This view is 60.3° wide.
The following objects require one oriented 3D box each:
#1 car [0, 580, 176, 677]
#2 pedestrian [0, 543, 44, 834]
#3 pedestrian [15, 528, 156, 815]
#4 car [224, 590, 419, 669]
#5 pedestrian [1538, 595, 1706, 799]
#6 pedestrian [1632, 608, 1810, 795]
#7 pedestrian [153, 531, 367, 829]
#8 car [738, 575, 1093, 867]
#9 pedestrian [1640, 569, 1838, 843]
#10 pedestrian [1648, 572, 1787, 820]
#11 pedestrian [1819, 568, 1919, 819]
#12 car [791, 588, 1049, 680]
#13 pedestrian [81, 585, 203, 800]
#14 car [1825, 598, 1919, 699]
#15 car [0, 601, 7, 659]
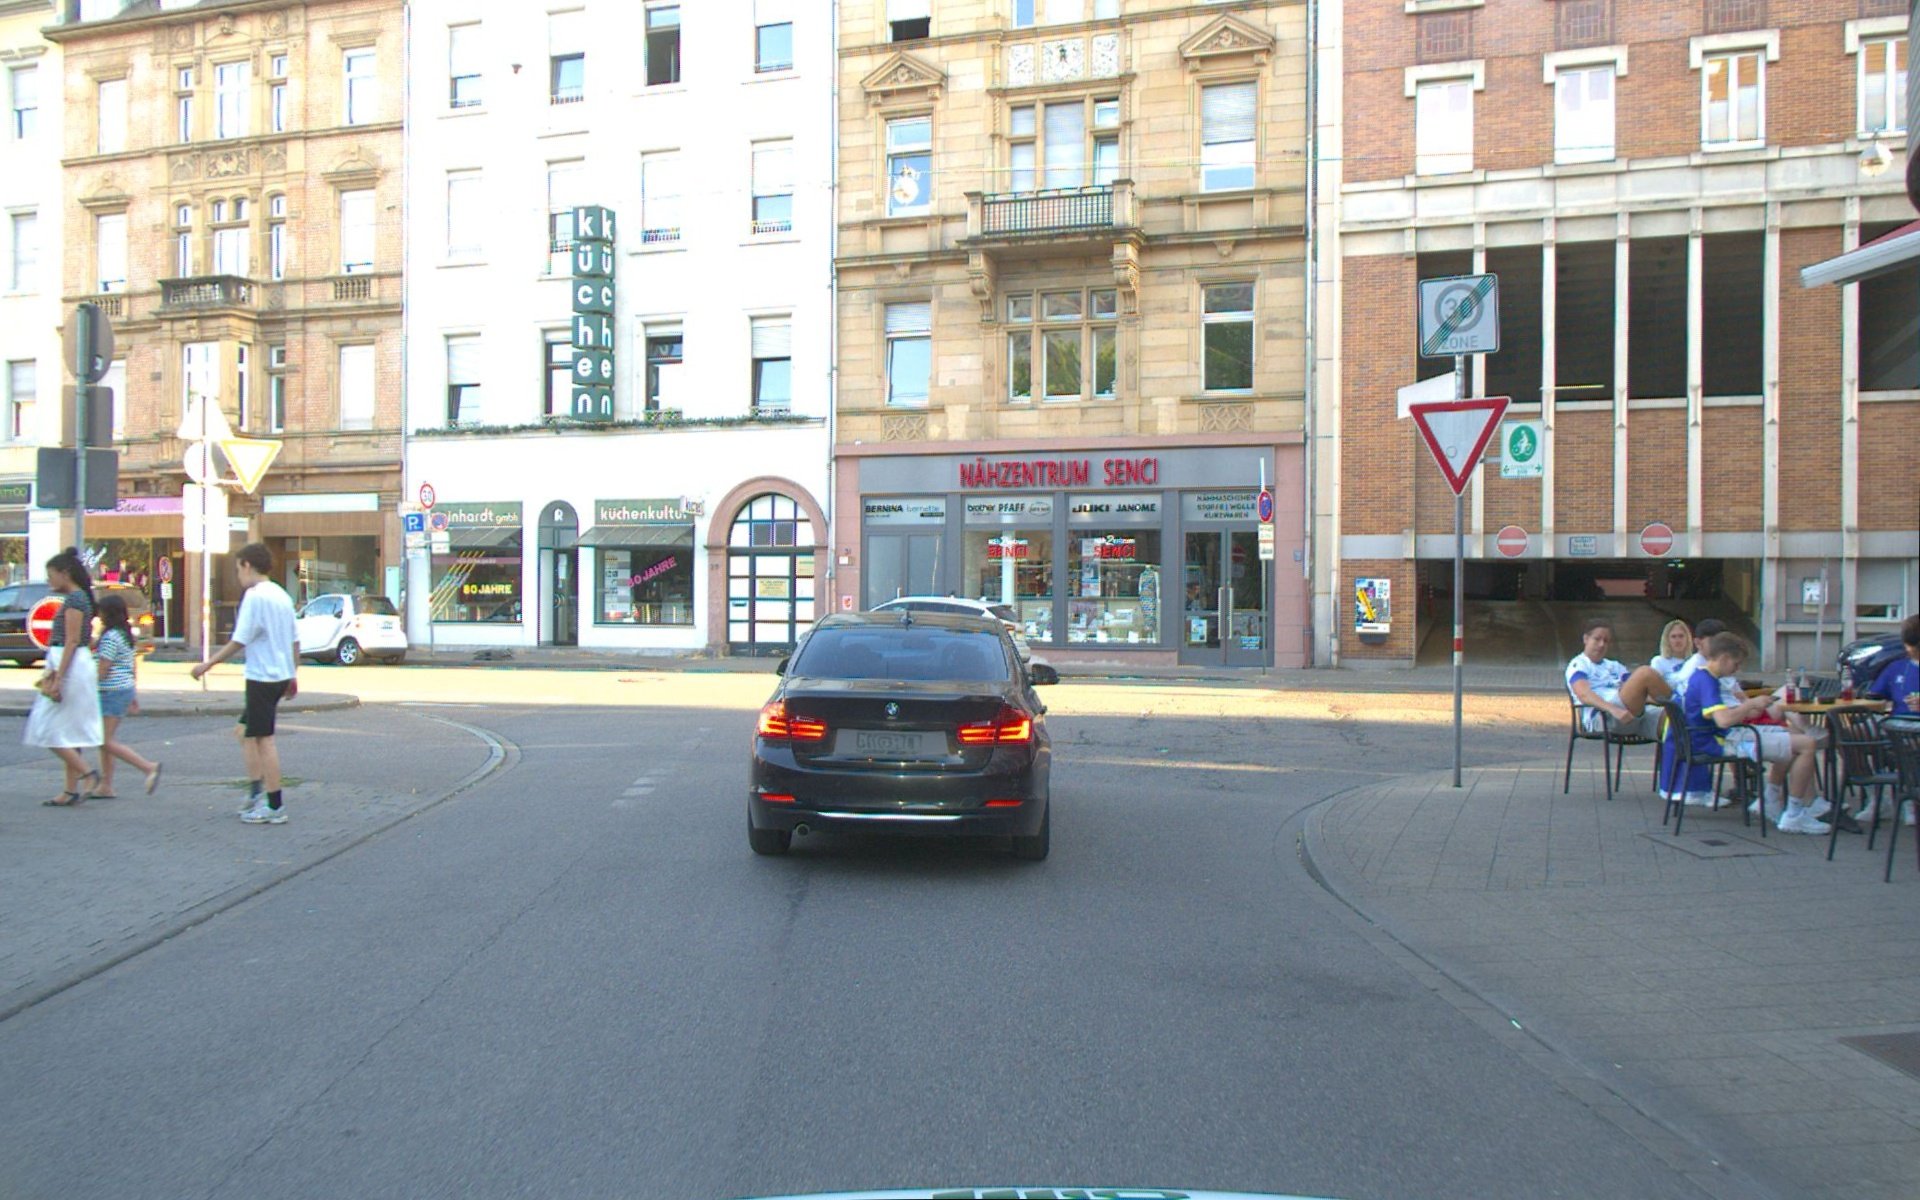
[{"bbox_3d":[-17.846,0.501,32.060,4.504,1.681,2.099,2,1,15],"label":"car"},{"bbox_3d":[-6.450,0.549,10.566,0.875,1.834,0.704,2,0,-42],"label":"pedestrian"},{"bbox_3d":[-6.091,0.477,11.511,0.771,1.908,0.706,2,0,-33],"label":"pedestrian"},{"bbox_3d":[-14.265,0.628,36.958,3.904,1.612,1.706,2,0,21],"label":"car"},{"bbox_3d":[4.798,0.679,12.010,0.760,1.406,0.831,0,-1,-29],"label":"pedestrian"},{"bbox_3d":[5.573,0.729,12.142,0.676,1.304,0.959,0,-2,-28],"label":"pedestrian"},{"bbox_3d":[-4.696,0.503,11.113,0.872,1.885,0.981,1,0,36],"label":"pedestrian"},{"bbox_3d":[-0.281,0.669,10.788,1.850,1.518,4.203,0,-1,-1],"label":"car"},{"bbox_3d":[4.757,0.619,10.149,0.698,1.562,0.853,-4,0,-2],"label":"pedestrian"},{"bbox_3d":[4.960,0.609,10.873,0.697,1.563,0.690,0,-1,14],"label":"pedestrian"},{"bbox_3d":[6.145,0.585,10.669,0.707,1.563,0.841,2,0,-38],"label":"pedestrian"},{"bbox_3d":[-0.762,0.631,32.046,4.569,1.562,2.001,2,0,19],"label":"car"},{"bbox_3d":[-5.999,0.658,12.119,0.707,1.512,0.597,2,0,-33],"label":"pedestrian"},{"bbox_3d":[16.076,0.770,26.255,3.905,1.546,2.000,1,1,21],"label":"car"},{"bbox_3d":[-26.671,0.734,41.703,4.734,1.459,2.000,0,-1,21],"label":"car"}]
